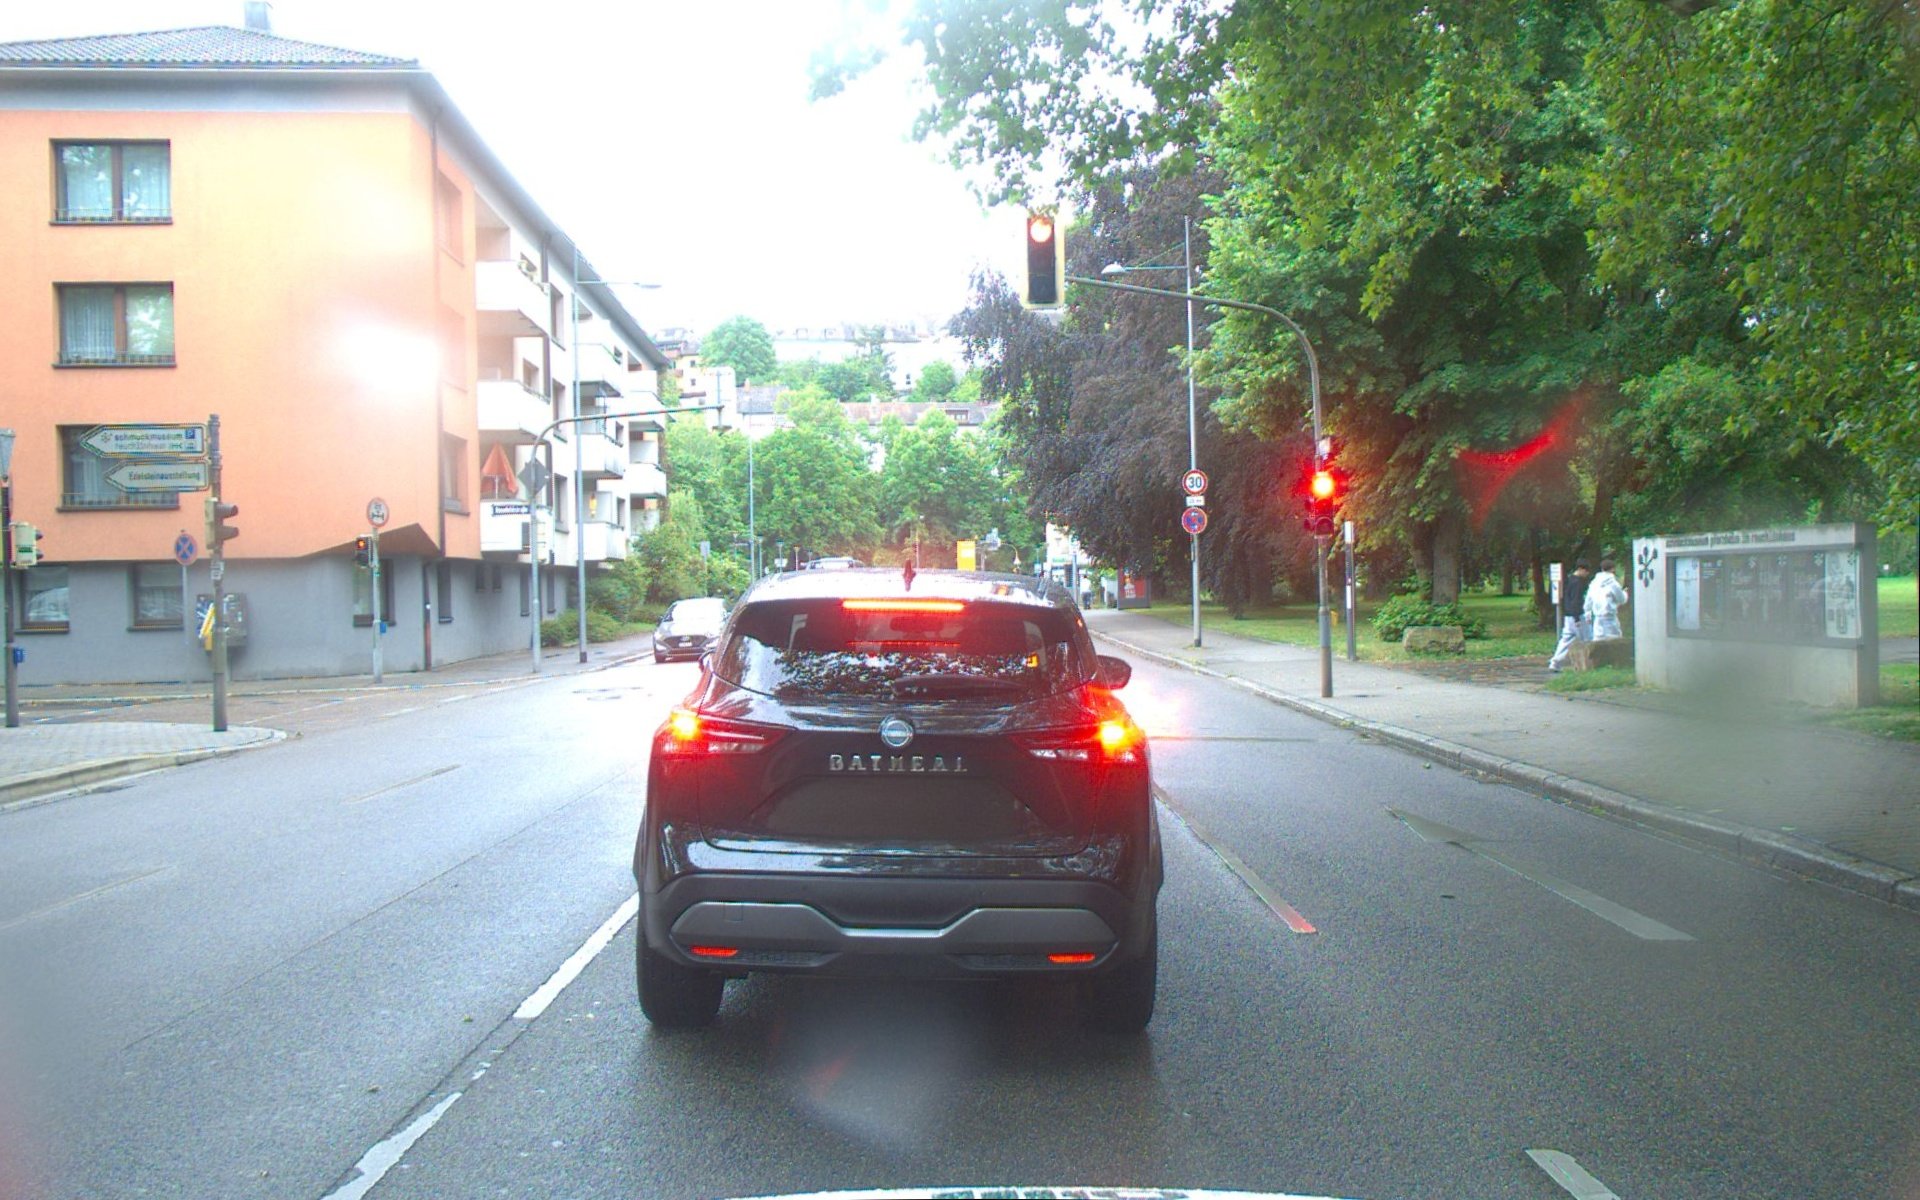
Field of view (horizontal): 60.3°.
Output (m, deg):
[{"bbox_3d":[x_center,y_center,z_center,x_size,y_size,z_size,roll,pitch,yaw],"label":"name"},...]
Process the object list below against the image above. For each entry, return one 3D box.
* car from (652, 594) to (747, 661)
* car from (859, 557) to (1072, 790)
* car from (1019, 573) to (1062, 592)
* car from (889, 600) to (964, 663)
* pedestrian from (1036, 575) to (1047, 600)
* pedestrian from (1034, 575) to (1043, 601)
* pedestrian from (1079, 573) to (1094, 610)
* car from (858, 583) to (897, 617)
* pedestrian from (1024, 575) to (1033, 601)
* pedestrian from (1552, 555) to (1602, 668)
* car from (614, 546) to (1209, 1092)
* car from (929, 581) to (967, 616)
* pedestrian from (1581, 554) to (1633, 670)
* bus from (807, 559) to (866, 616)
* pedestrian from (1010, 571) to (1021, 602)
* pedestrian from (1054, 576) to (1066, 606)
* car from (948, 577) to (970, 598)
[{"bbox_3d":[-6.381,0.635,40.854,1.772,1.441,4.029,-3,1,-2],"label":"car"},{"bbox_3d":[0.070,0.552,14.650,1.588,1.738,3.771,-2,0,1],"label":"car"},{"bbox_3d":[7.963,-1.724,163.765,3.916,1.713,1.995,-2,0,-11],"label":"car"},{"bbox_3d":[-0.855,0.742,41.093,1.772,1.442,4.029,0,0,-2],"label":"car"},{"bbox_3d":[5.408,-0.823,109.566,0.685,1.680,0.628,1,-1,0],"label":"pedestrian"},{"bbox_3d":[5.145,-0.814,108.474,0.504,1.684,0.550,1,-1,-1],"label":"pedestrian"},{"bbox_3d":[6.305,-0.443,82.312,0.606,1.810,0.778,-2,0,-1],"label":"pedestrian"},{"bbox_3d":[-3.737,-0.001,75.162,1.591,1.439,3.454,-2,0,0],"label":"car"},{"bbox_3d":[4.552,-0.792,109.566,0.533,1.680,0.490,1,-1,0],"label":"pedestrian"},{"bbox_3d":[9.737,0.176,26.119,0.475,1.751,0.559,-2,0,-7],"label":"pedestrian"},{"bbox_3d":[-0.170,0.670,6.984,1.769,1.618,3.999,1,0,-1],"label":"car"},{"bbox_3d":[-0.533,-0.080,73.531,1.591,1.439,3.454,-2,0,0],"label":"car"},{"bbox_3d":[9.957,0.177,25.458,0.493,1.751,0.559,-2,0,-7],"label":"pedestrian"},{"bbox_3d":[-7.266,-0.658,98.450,2.710,3.026,11.778,-1,-1,-1],"label":"bus"},{"bbox_3d":[4.018,-0.962,120.619,0.752,2.222,0.711,1,-1,2],"label":"pedestrian"},{"bbox_3d":[6.186,-0.544,102.201,0.606,1.810,0.550,-2,0,-1],"label":"pedestrian"},{"bbox_3d":[-0.069,-1.062,136.341,1.714,1.662,3.634,-2,1,0],"label":"car"}]
